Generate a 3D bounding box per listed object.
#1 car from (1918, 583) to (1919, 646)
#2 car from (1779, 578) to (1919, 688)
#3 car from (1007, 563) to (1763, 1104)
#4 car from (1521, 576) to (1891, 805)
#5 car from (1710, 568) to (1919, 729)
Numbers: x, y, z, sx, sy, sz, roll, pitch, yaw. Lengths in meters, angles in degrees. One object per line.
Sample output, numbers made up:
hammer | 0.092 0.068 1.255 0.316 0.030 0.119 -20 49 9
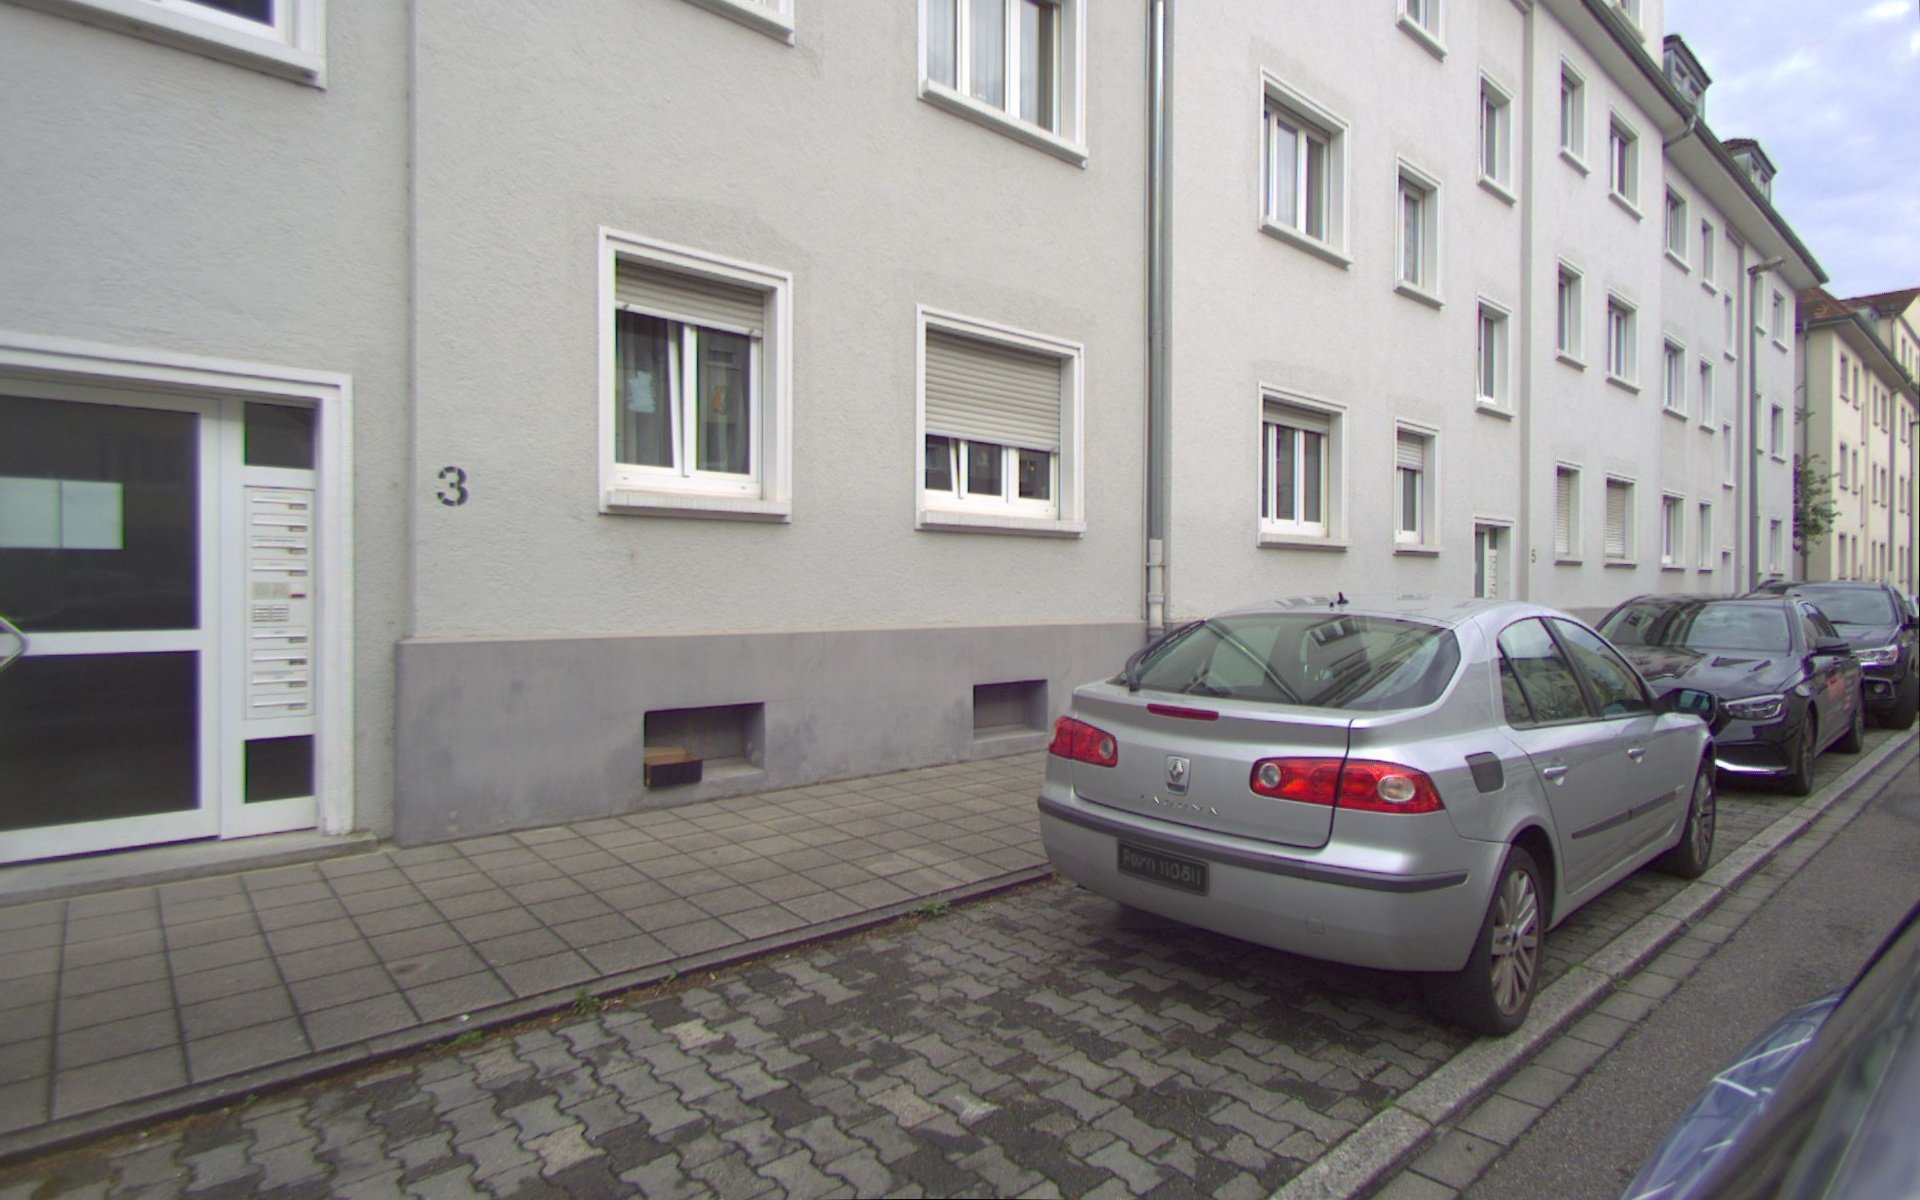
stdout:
car | 25.837 0.350 25.865 3.616 1.566 1.735 -1 2 -43
car | 14.171 0.439 15.651 3.691 1.505 1.735 0 1 -41
car | 2.370 0.614 4.896 4.355 1.481 1.735 0 1 -43
car | 6.531 0.562 8.664 4.250 1.481 1.784 0 1 -43
car | 10.612 0.465 12.163 4.090 1.619 1.850 0 1 -43
